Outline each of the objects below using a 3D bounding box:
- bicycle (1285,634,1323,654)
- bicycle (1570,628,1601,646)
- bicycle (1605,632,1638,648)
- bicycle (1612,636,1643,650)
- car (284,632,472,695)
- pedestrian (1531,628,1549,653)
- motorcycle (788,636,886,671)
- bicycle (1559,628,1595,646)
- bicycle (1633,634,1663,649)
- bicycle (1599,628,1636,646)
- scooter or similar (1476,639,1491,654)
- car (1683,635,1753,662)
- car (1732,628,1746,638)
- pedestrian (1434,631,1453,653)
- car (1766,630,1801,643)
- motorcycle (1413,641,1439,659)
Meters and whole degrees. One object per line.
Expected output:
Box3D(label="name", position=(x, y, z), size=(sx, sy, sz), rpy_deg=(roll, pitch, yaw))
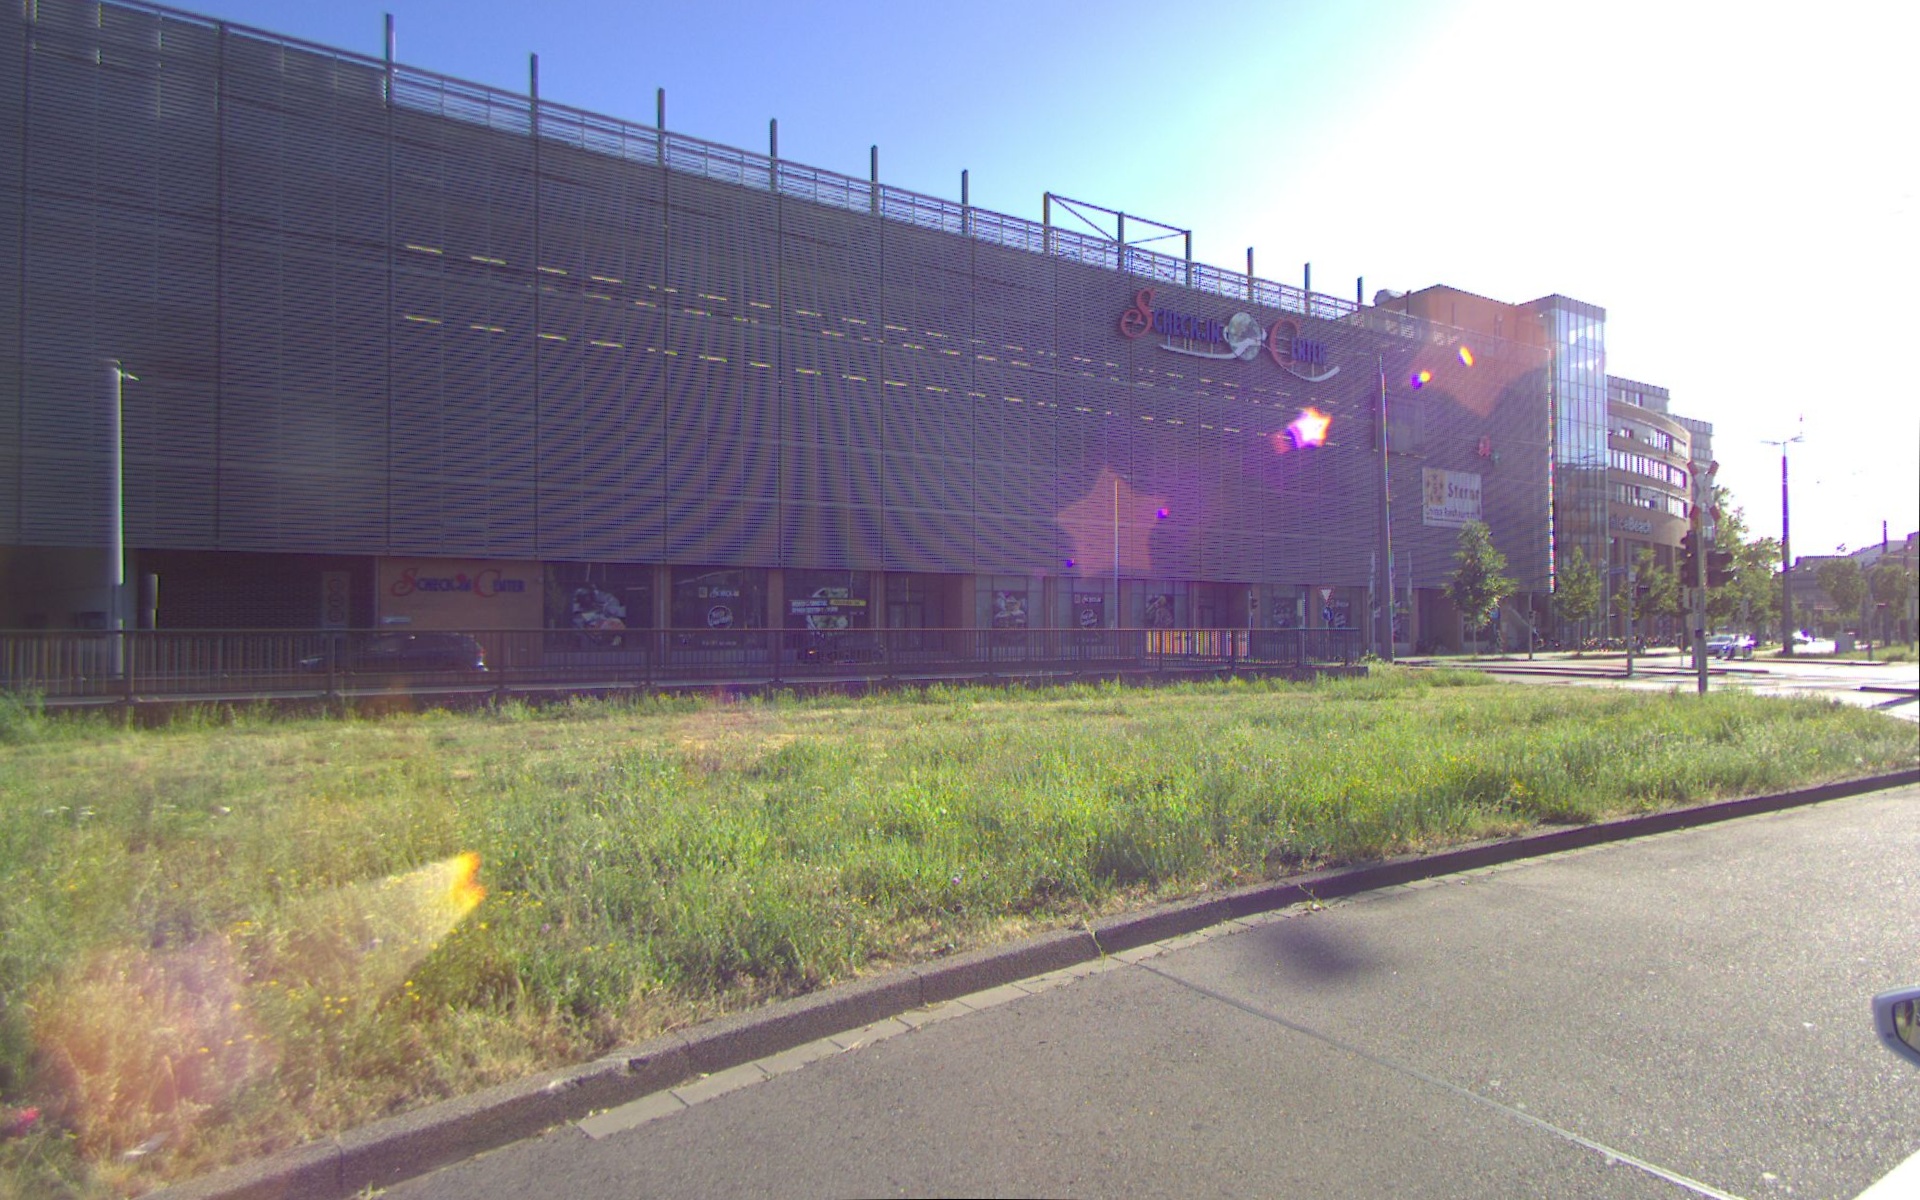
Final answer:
Box3D(label="bicycle", position=(21.142, 2.704, 61.717), size=(2.384, 1.237, 0.797), rpy_deg=(1, -2, -27))
Box3D(label="bicycle", position=(51.791, 3.055, 83.238), size=(0.848, 1.452, 2.080), rpy_deg=(1, -3, -21))
Box3D(label="bicycle", position=(61.542, 3.736, 93.480), size=(0.760, 1.452, 2.604), rpy_deg=(1, -3, -21))
Box3D(label="bicycle", position=(62.679, 4.028, 94.329), size=(0.733, 1.252, 2.411), rpy_deg=(1, -3, -21))
Box3D(label="car", position=(-15.431, 1.630, 26.835), size=(4.192, 1.520, 1.985), rpy_deg=(1, -1, -30))
Box3D(label="pedestrian", position=(44.256, 3.094, 76.644), size=(0.894, 1.848, 0.823), rpy_deg=(2, -3, -29))
Box3D(label="motorcycle", position=(-5.543, 2.361, 45.185), size=(3.953, 1.472, 1.984), rpy_deg=(0, -2, -30))
Box3D(label="bicycle", position=(50.864, 3.096, 82.868), size=(1.060, 1.452, 2.367), rpy_deg=(1, -3, -21))
Box3D(label="bicycle", position=(66.076, 4.016, 96.484), size=(0.777, 1.452, 2.417), rpy_deg=(1, -3, -21))
Box3D(label="bicycle", position=(56.055, 3.171, 85.658), size=(0.891, 1.452, 2.558), rpy_deg=(1, -3, -21))
Box3D(label="scooter or similar", position=(38.619, 3.425, 74.054), size=(1.138, 1.124, 0.419), rpy_deg=(2, -3, -30))
Box3D(label="car", position=(45.894, 2.899, 60.831), size=(4.481, 1.566, 1.982), rpy_deg=(1, -2, -33))
Box3D(label="car", position=(140.502, 5.945, 181.212), size=(1.627, 1.609, 3.350), rpy_deg=(-1, -2, 33))
Box3D(label="pedestrian", position=(35.436, 3.109, 73.595), size=(0.819, 1.586, 0.983), rpy_deg=(2, -3, -30))
Box3D(label="car", position=(106.616, 4.744, 130.058), size=(1.623, 1.609, 3.357), rpy_deg=(0, -2, -5))
Box3D(label="motorcycle", position=(31.690, 3.406, 68.309), size=(1.872, 1.254, 0.672), rpy_deg=(2, -3, -31))
